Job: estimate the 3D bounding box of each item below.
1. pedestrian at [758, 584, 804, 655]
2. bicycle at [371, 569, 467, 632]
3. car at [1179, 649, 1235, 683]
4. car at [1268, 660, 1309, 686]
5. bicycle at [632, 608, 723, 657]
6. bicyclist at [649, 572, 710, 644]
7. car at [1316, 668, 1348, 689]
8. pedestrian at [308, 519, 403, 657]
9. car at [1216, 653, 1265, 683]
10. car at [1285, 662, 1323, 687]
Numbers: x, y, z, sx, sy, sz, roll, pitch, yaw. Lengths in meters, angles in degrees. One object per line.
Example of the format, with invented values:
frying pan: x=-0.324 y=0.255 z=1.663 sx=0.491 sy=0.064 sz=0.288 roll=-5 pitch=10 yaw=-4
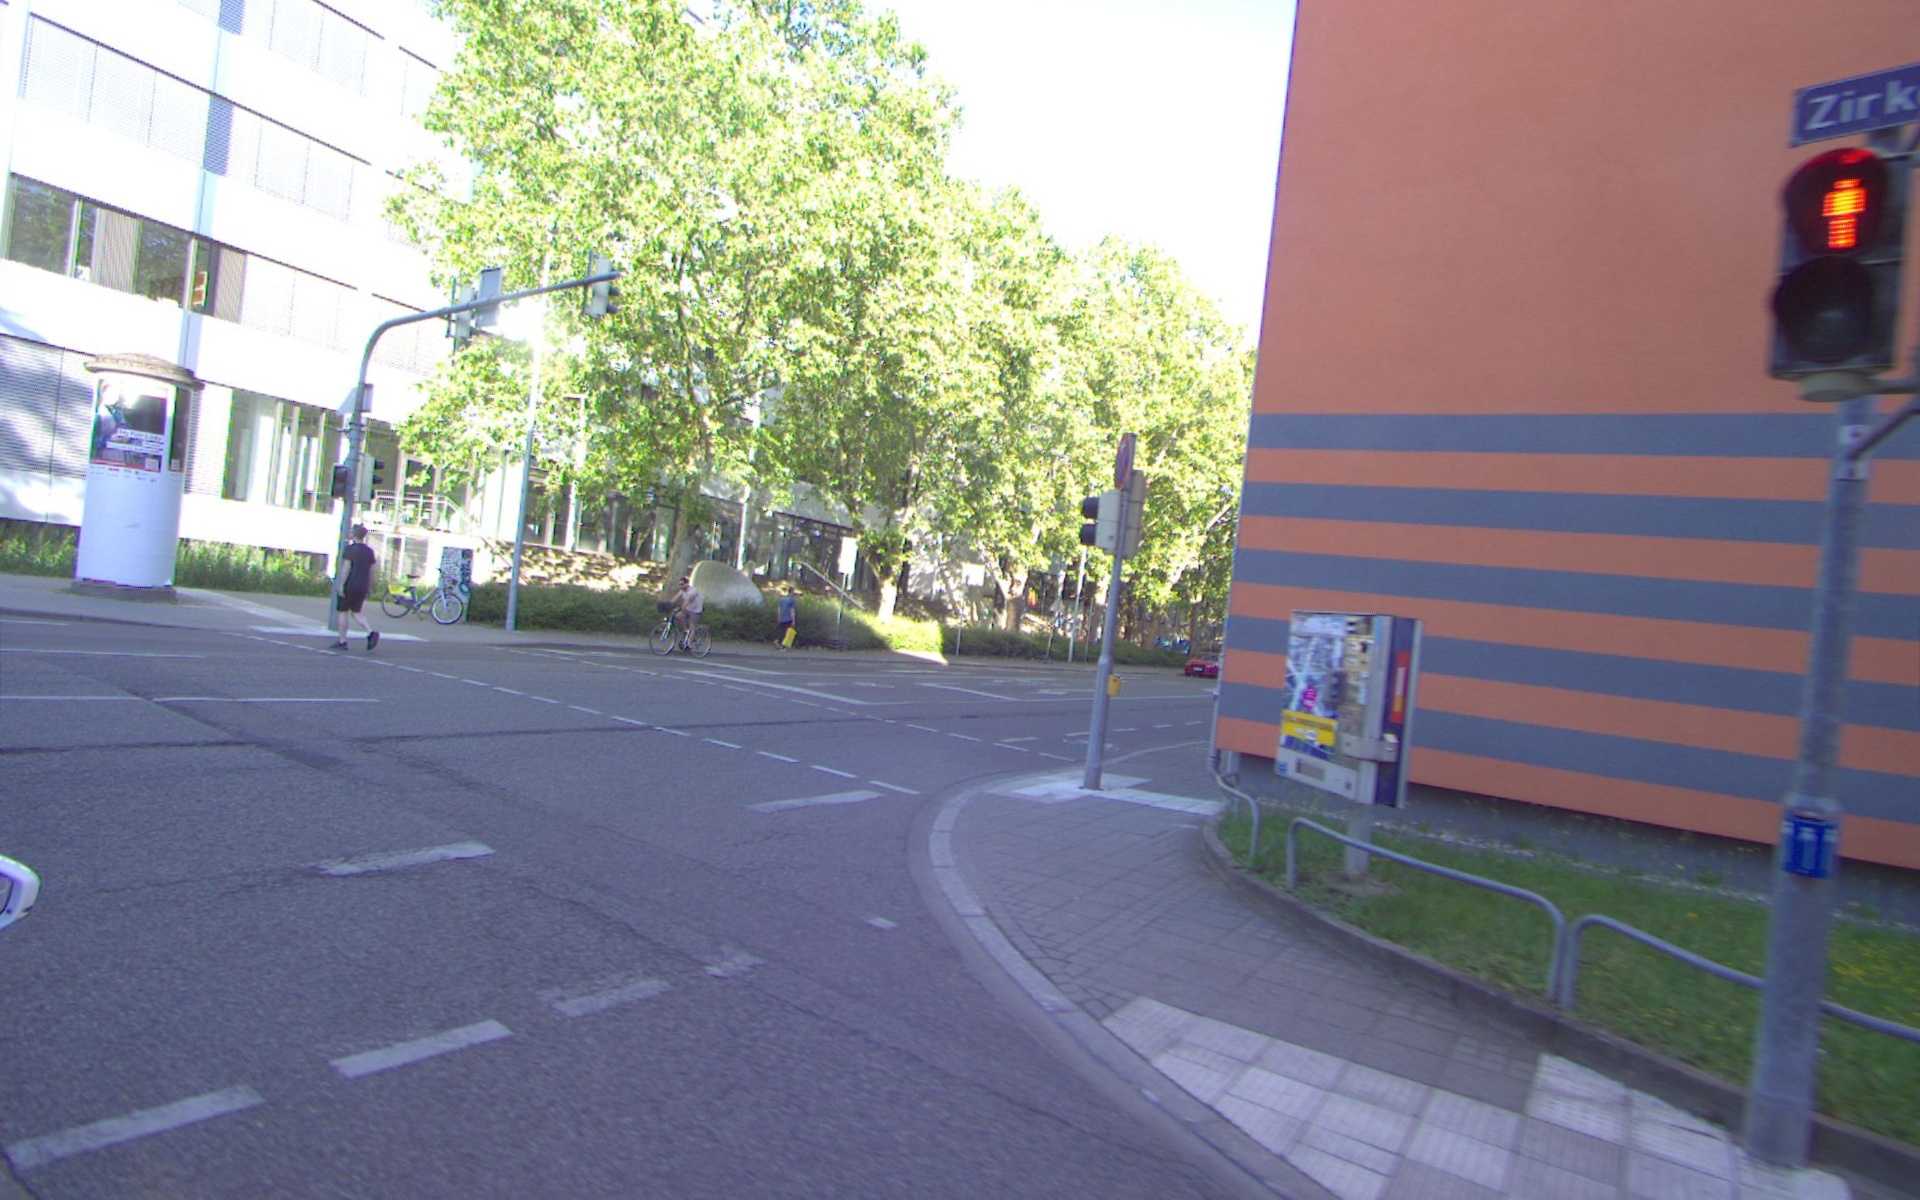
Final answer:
pedestrian: x=-5.005 y=0.545 z=28.186 sx=0.696 sy=1.861 sz=0.837 roll=7 pitch=-1 yaw=26
bicycle: x=-11.391 y=0.018 z=21.196 sx=1.656 sy=1.062 sz=0.508 roll=9 pitch=2 yaw=2
car: x=13.822 y=3.699 z=56.112 sx=1.859 sy=1.564 sz=3.994 roll=6 pitch=-2 yaw=31
car: x=23.917 y=5.325 z=73.092 sx=1.859 sy=1.564 sz=3.994 roll=6 pitch=-2 yaw=31
bicycle: x=-6.388 y=0.760 z=22.893 sx=0.718 sy=0.938 sz=2.117 roll=7 pitch=-1 yaw=24
bicyclist: x=-6.350 y=0.194 z=22.807 sx=0.735 sy=1.507 sz=0.954 roll=7 pitch=0 yaw=25
car: x=32.592 y=6.875 z=88.086 sx=1.859 sy=1.564 sz=3.994 roll=6 pitch=-2 yaw=31
pedestrian: x=-8.747 y=-0.174 z=14.566 sx=0.824 sy=1.861 sz=0.707 roll=7 pitch=-1 yaw=37
car: x=17.421 y=4.227 z=62.381 sx=1.859 sy=1.564 sz=3.994 roll=6 pitch=-2 yaw=31
car: x=26.460 y=5.724 z=77.342 sx=1.859 sy=1.564 sz=3.994 roll=6 pitch=-2 yaw=31
